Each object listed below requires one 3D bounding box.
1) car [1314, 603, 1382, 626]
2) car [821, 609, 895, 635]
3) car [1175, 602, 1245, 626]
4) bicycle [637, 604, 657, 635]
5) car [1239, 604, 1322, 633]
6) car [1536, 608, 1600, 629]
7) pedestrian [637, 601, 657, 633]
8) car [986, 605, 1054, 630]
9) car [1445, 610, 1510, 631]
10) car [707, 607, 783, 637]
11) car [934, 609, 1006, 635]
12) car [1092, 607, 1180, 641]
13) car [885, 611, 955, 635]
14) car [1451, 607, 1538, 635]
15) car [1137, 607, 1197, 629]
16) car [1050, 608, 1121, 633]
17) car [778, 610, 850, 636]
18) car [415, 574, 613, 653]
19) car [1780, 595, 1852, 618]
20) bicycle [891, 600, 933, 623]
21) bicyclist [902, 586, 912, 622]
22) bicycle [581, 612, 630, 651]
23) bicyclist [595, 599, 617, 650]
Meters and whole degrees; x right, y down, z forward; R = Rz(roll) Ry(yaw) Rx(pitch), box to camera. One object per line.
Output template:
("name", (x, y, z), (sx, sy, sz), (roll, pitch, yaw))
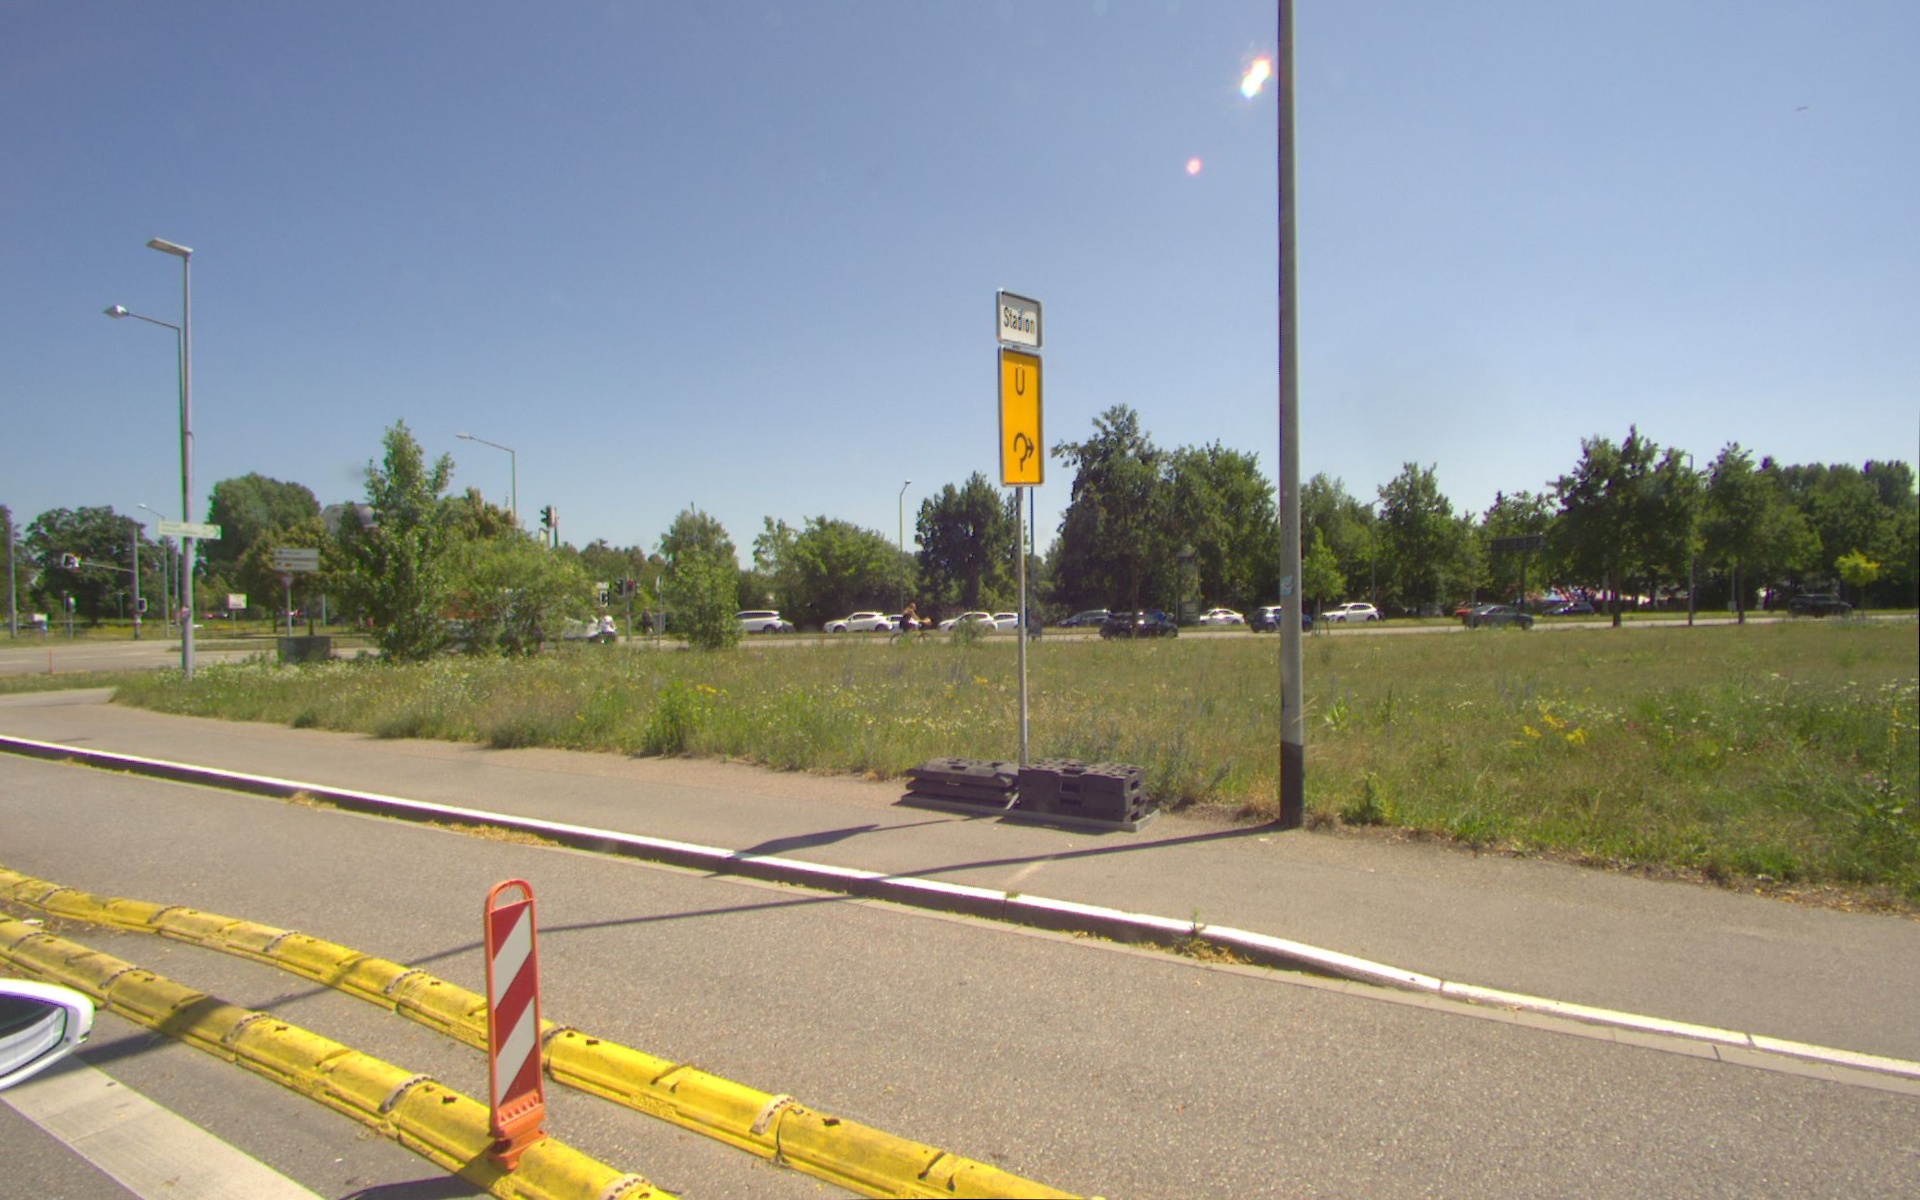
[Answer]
("car", (28.081, 1.072, 72.465), (4.366, 1.612, 1.846), (0, -2, -17))
("car", (-6.417, 1.400, 62.895), (4.365, 1.612, 1.846), (0, -2, -16))
("car", (17.423, 0.979, 69.785), (4.365, 1.612, 1.846), (0, -2, -16))
("bicycle", (-16.726, 1.050, 53.554), (0.967, 1.617, 2.879), (0, -2, -16))
("car", (18.794, 1.043, 58.755), (4.344, 1.617, 1.994), (0, 1, -20))
("car", (47.936, 1.449, 78.919), (4.365, 1.612, 1.846), (0, -2, -16))
("pedestrian", (-16.683, 0.915, 53.416), (0.954, 1.681, 0.885), (0, -1, -16))
("car", (4.126, 1.202, 69.268), (4.365, 1.613, 1.845), (0, 0, -16))
("car", (39.720, 1.573, 76.872), (4.337, 1.612, 1.846), (0, -2, -16))
("car", (-13.020, 1.336, 60.573), (4.365, 1.758, 1.846), (0, -2, -16))
("car", (0.650, 1.436, 64.925), (4.365, 1.612, 1.846), (0, -2, -16))
("car", (8.698, 1.205, 49.613), (3.929, 1.573, 1.724), (1, 1, -16))
("car", (-2.657, 1.559, 66.931), (4.365, 1.612, 1.846), (0, -2, -16))
("car", (31.298, 1.210, 58.635), (4.340, 1.617, 1.996), (0, 1, -16))
("car", (14.910, 1.284, 72.205), (3.927, 1.558, 1.764), (0, -2, -14))
("car", (8.414, 1.374, 67.063), (4.365, 1.612, 1.846), (0, -2, -16))
("car", (-9.459, 1.499, 64.818), (4.365, 1.612, 1.846), (0, -2, -16))
("car", (-17.256, 0.574, 38.998), (6.801, 2.864, 1.986), (1, -2, -37))
("car", (61.145, 0.444, 71.528), (4.343, 1.617, 1.995), (0, 1, -19))
("bicycle", (-1.829, 0.439, 37.915), (1.564, 0.895, 0.369), (0, -1, -10))
("bicyclist", (-2.003, 0.148, 37.886), (0.349, 1.336, 0.379), (0, -1, -9))
("bicycle", (-13.125, 1.172, 37.200), (0.628, 1.370, 2.896), (0, -2, 4))
("bicyclist", (-13.127, 0.907, 37.157), (0.597, 1.864, 0.572), (0, -1, 2))
